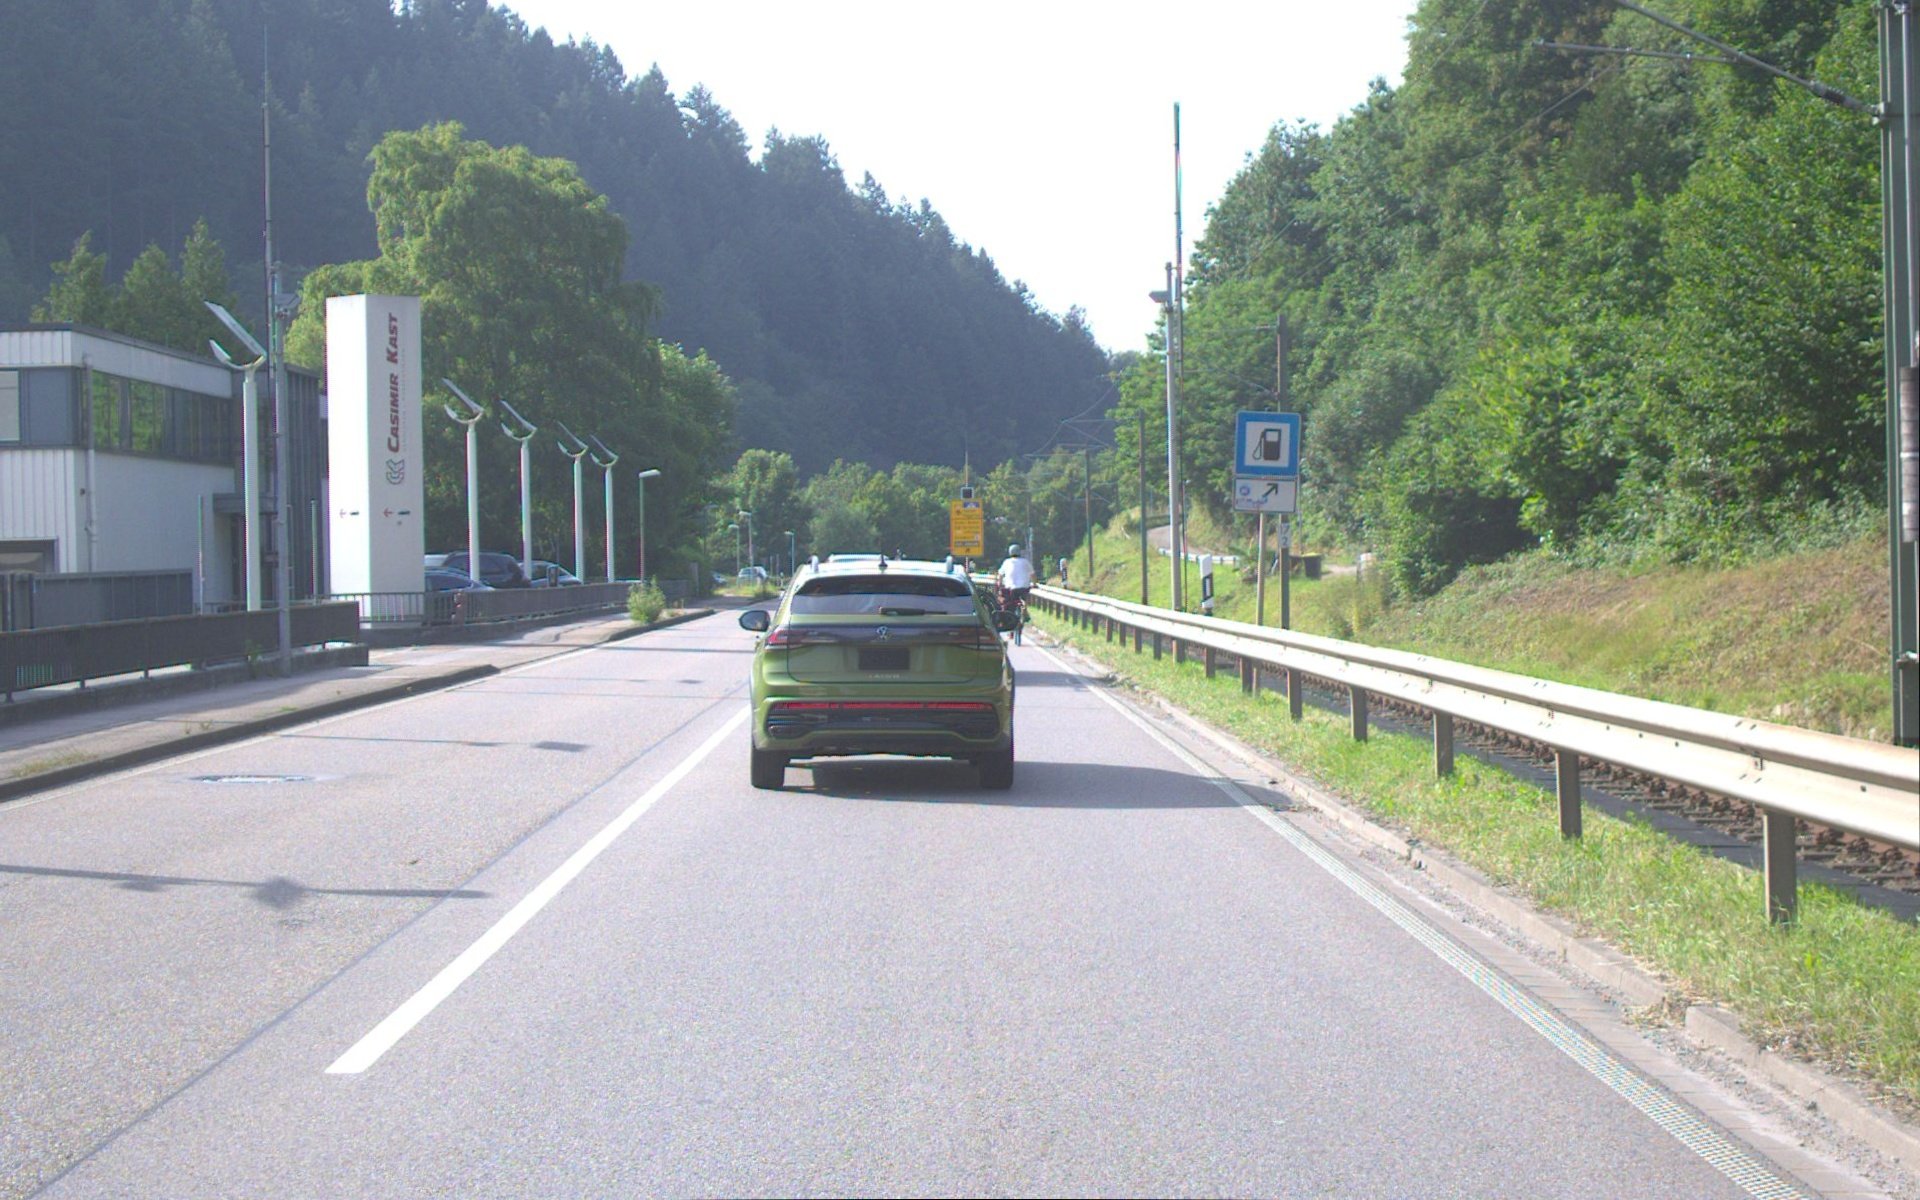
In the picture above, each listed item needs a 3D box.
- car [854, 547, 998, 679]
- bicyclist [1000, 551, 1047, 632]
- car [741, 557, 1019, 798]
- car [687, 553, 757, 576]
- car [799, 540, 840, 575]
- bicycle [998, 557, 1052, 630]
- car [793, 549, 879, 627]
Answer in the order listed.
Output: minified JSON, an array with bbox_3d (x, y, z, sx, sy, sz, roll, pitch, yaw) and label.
[{"bbox_3d":[-0.465,0.134,43.663,1.739,1.596,4.000,0,1,-2],"label":"car"},{"bbox_3d":[1.115,-0.153,60.446,0.781,1.407,0.675,0,1,-2],"label":"bicyclist"},{"bbox_3d":[-0.558,0.463,23.530,1.739,1.503,4.000,0,1,-2],"label":"car"},{"bbox_3d":[-14.771,-2.201,213.444,4.259,1.428,1.557,0,1,0],"label":"car"},{"bbox_3d":[-6.398,-1.933,156.701,1.677,1.480,4.246,-3,1,-1],"label":"car"},{"bbox_3d":[1.132,-0.125,60.305,0.811,1.246,2.123,0,1,-3],"label":"bicycle"},{"bbox_3d":[-2.602,-0.274,72.607,1.739,1.596,4.000,0,1,-2],"label":"car"}]
